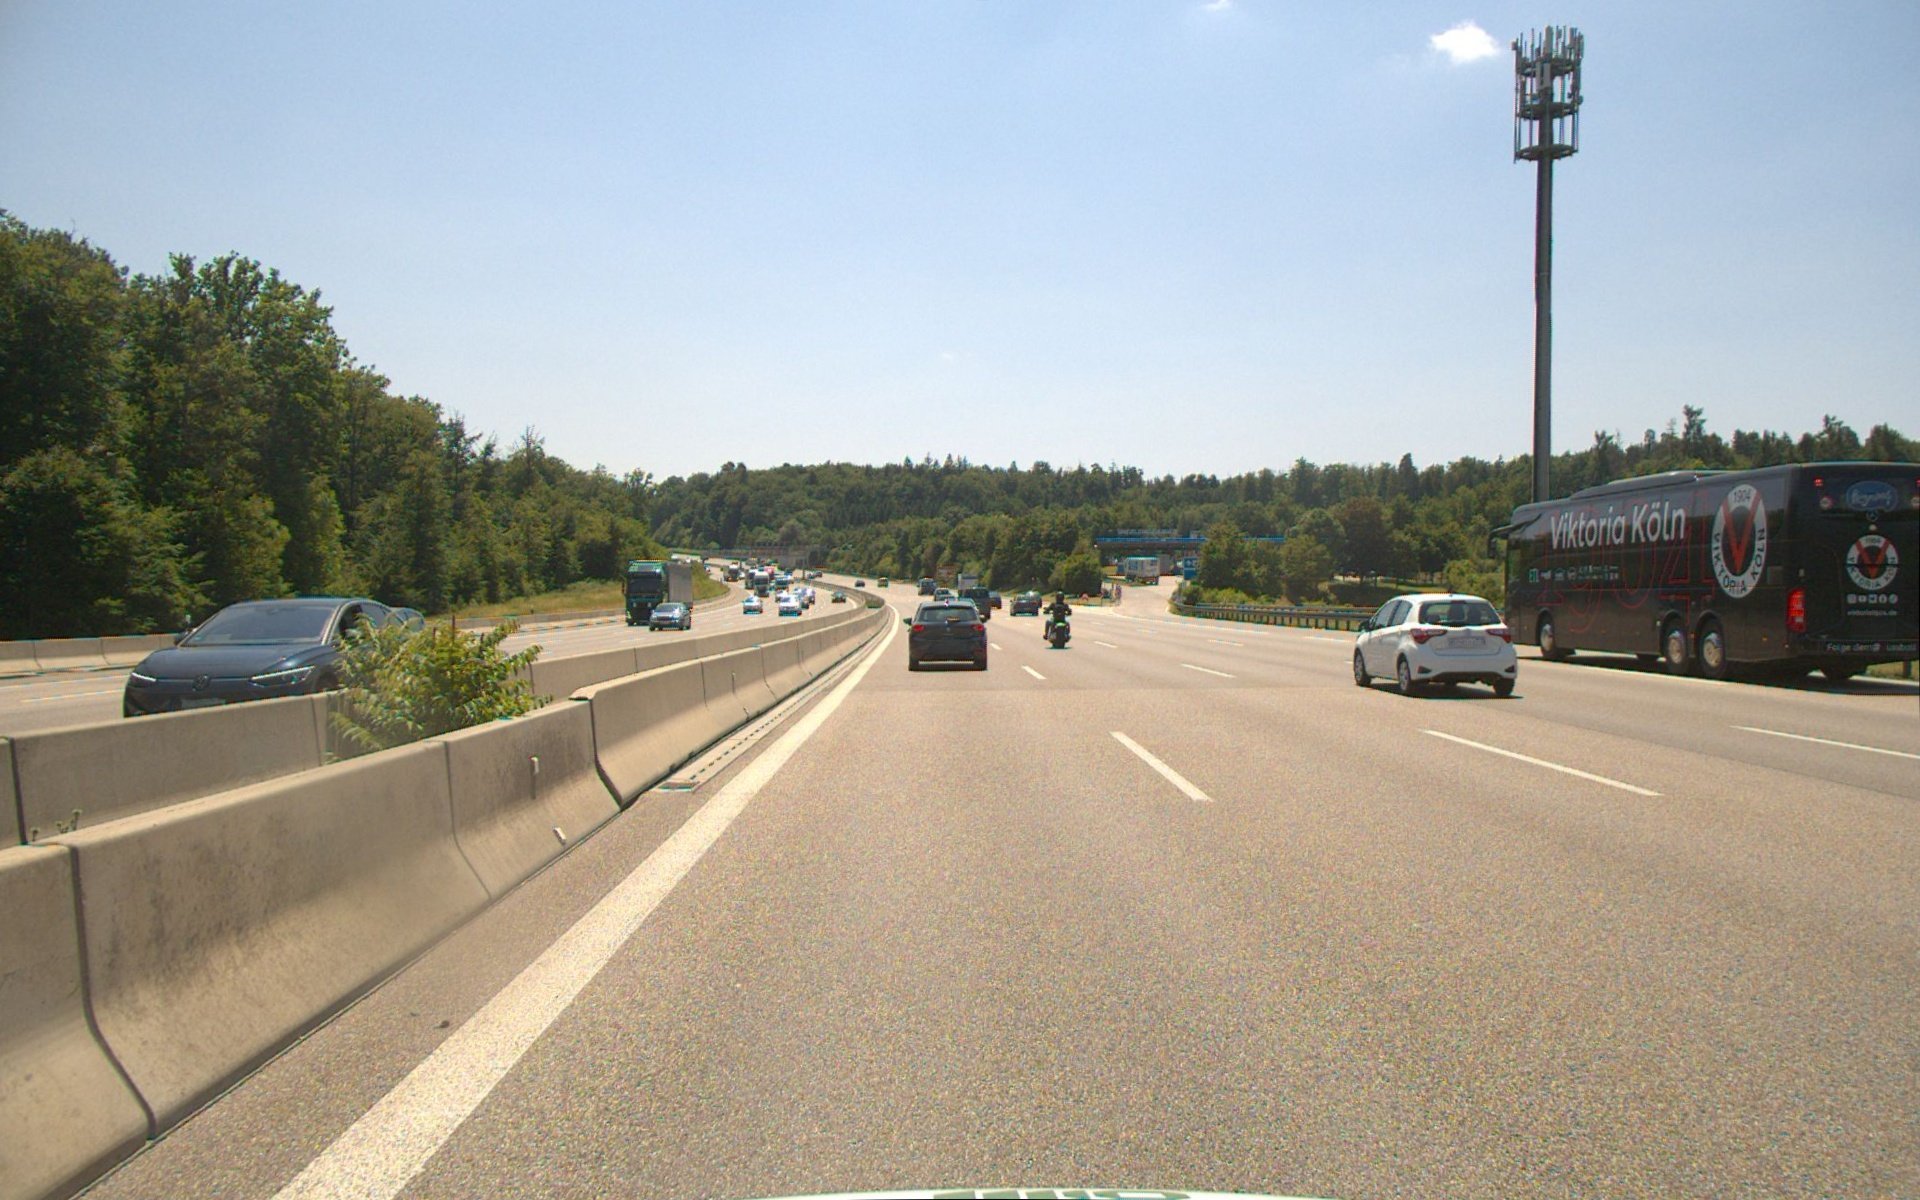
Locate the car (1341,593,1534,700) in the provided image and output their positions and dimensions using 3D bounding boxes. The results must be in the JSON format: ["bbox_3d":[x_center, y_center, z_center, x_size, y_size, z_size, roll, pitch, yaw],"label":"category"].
[{"bbox_3d":[7.392,0.659,26.041,1.632,1.458,4.374,-3,0,-1],"label":"car"}]

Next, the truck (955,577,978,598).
[{"bbox_3d":[0.876,-1.801,231.475,2.673,2.834,5.678,2,1,-5],"label":"truck"}]

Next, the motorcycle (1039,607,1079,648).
[{"bbox_3d":[2.952,0.802,49.413,0.958,1.149,2.270,0,1,-3],"label":"motorcycle"}]

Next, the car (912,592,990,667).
[{"bbox_3d":[-0.190,0.653,36.062,1.591,1.513,3.684,1,-1,0],"label":"car"}]

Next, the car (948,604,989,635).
[{"bbox_3d":[0.354,0.841,73.069,1.746,1.287,3.459,0,0,-1],"label":"car"}]

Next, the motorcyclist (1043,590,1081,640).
[{"bbox_3d":[3.031,0.442,49.356,0.943,1.462,1.234,-1,1,-5],"label":"motorcyclist"}]

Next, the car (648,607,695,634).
[{"bbox_3d":[-15.485,1.096,88.929,1.795,1.324,4.728,1,0,-2],"label":"car"}]

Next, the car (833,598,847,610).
[{"bbox_3d":[-15.030,0.453,208.125,1.569,1.494,4.503,-1,0,-2],"label":"car"}]

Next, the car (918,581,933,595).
[{"bbox_3d":[-5.312,-1.844,250.740,1.954,2.048,4.670,2,1,-5],"label":"car"}]

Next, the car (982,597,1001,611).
[{"bbox_3d":[2.796,0.341,148.257,1.576,1.233,3.458,0,0,-2],"label":"car"}]

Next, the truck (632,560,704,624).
[{"bbox_3d":[-20.001,-0.522,114.150,2.635,4.096,14.294,-1,0,-1],"label":"truck"}]

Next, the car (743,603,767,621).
[{"bbox_3d":[-18.719,1.070,151.257,1.835,1.561,4.134,-1,0,-2],"label":"car"}]

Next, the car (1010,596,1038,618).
[{"bbox_3d":[4.430,0.473,114.483,1.641,1.457,3.684,0,0,-2],"label":"car"}]

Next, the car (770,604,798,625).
[{"bbox_3d":[-13.993,1.174,131.822,1.795,1.589,4.775,-1,0,-2],"label":"car"}]

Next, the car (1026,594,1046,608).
[{"bbox_3d":[6.916,0.109,151.618,1.576,1.233,3.458,0,0,-2],"label":"car"}]

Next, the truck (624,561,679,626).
[{"bbox_3d":[-19.854,-0.423,106.750,2.604,4.096,5.508,-1,0,-2],"label":"truck"}]

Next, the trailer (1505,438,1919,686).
[{"bbox_3d":[14.112,-0.566,31.872,2.799,3.752,13.542,0,0,0],"label":"trailer"}]

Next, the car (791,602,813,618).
[{"bbox_3d":[-16.176,1.051,169.380,1.835,1.501,5.110,-4,0,-2],"label":"car"}]

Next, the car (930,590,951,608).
[{"bbox_3d":[-2.066,-0.113,174.180,1.954,1.713,4.420,2,1,-5],"label":"car"}]

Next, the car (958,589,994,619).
[{"bbox_3d":[0.998,0.270,106.272,2.055,1.884,4.079,0,0,-3],"label":"car"}]

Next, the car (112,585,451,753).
[{"bbox_3d":[-7.225,0.653,18.203,1.794,1.596,4.785,0,0,-1],"label":"car"}]
